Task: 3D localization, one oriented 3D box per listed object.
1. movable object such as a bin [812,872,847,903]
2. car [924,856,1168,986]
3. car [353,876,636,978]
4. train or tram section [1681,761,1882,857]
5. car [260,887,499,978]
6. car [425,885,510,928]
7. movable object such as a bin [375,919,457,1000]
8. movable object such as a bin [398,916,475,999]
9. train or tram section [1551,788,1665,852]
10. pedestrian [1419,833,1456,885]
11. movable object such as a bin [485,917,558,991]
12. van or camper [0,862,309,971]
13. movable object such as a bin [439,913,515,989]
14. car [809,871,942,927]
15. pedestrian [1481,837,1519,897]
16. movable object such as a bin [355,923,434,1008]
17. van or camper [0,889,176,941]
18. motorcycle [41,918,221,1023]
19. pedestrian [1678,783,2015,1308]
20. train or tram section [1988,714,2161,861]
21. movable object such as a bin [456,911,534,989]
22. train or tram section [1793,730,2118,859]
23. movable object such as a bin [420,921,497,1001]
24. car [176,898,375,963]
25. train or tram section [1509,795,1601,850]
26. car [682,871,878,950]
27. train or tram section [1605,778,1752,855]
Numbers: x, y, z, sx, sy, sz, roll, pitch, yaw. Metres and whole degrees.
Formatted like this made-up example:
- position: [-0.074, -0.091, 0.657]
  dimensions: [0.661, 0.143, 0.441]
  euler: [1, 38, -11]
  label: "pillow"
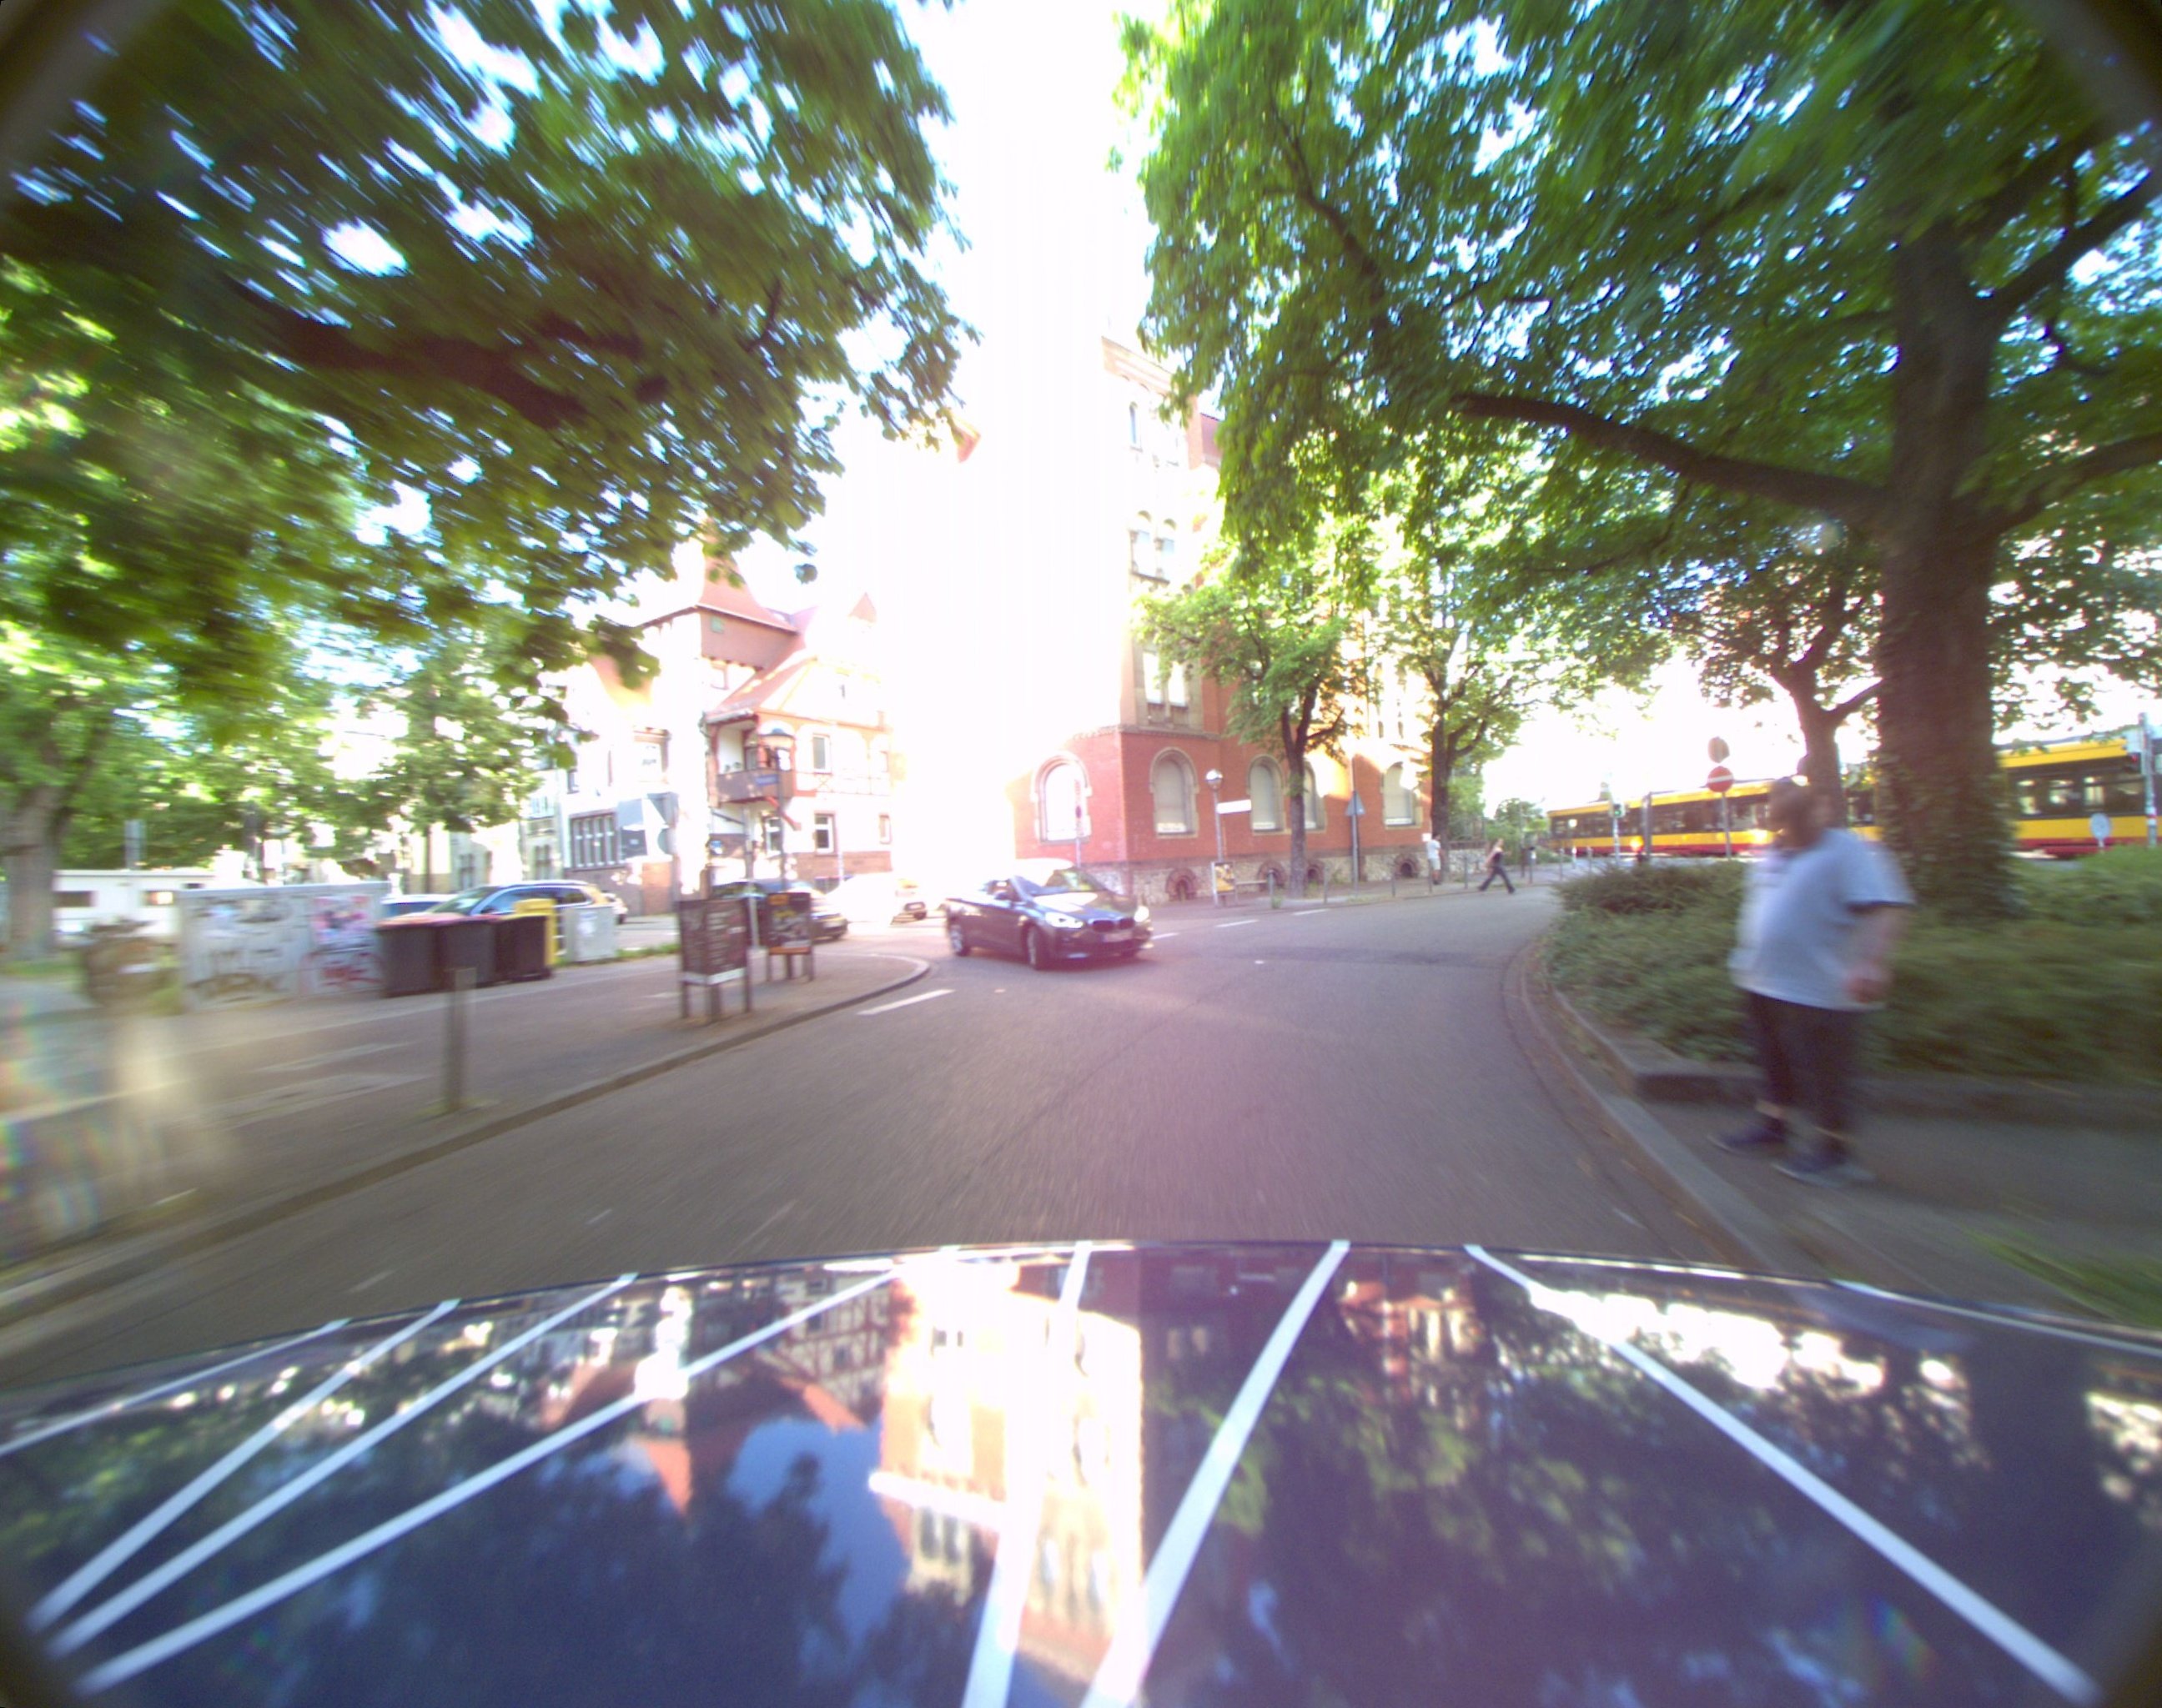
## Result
- position: [-11.501, 1.508, 34.828]
  dimensions: [0.685, 1.310, 1.386]
  euler: [-3, 1, 24]
  label: "movable object such as a bin"
- position: [-0.789, 0.960, 12.477]
  dimensions: [1.928, 1.597, 4.506]
  euler: [-4, 1, -32]
  label: "car"
- position: [-11.897, 1.411, 15.747]
  dimensions: [2.019, 1.702, 4.127]
  euler: [-4, -2, 27]
  label: "car"
- position: [30.533, -1.800, 33.645]
  dimensions: [2.930, 3.578, 7.194]
  euler: [-4, 0, 9]
  label: "train or tram section"
- position: [-16.126, 1.728, 17.640]
  dimensions: [1.699, 1.641, 3.712]
  euler: [-3, 0, 35]
  label: "car"
- position: [-30.745, 2.644, 38.062]
  dimensions: [4.313, 1.896, 1.807]
  euler: [-3, 2, 31]
  label: "car"
- position: [-10.464, 1.638, 11.964]
  dimensions: [0.700, 1.146, 0.741]
  euler: [-3, 0, 32]
  label: "movable object such as a bin"
- position: [-9.813, 1.562, 11.567]
  dimensions: [0.700, 1.146, 0.635]
  euler: [-3, 1, 32]
  label: "movable object such as a bin"
- position: [32.859, -2.041, 47.814]
  dimensions: [2.969, 3.487, 7.193]
  euler: [-4, 1, 9]
  label: "train or tram section"
- position: [11.610, 0.154, 24.769]
  dimensions: [0.859, 1.633, 0.870]
  euler: [-3, 0, 14]
  label: "pedestrian"
- position: [-8.772, 1.549, 11.922]
  dimensions: [0.693, 1.058, 0.660]
  euler: [-3, 0, 32]
  label: "movable object such as a bin"
- position: [-31.996, 1.981, 26.132]
  dimensions: [2.459, 3.059, 7.112]
  euler: [-3, 0, 29]
  label: "van or camper"
- position: [-10.051, 1.594, 12.655]
  dimensions: [0.714, 1.146, 0.741]
  euler: [-3, 0, 32]
  label: "movable object such as a bin"
- position: [-6.391, 1.401, 23.547]
  dimensions: [3.787, 1.477, 1.713]
  euler: [-3, 2, 31]
  label: "car"
- position: [11.593, 0.364, 21.015]
  dimensions: [0.853, 1.595, 0.603]
  euler: [-3, 0, 31]
  label: "pedestrian"
- position: [-9.651, 1.547, 10.691]
  dimensions: [0.672, 1.077, 0.594]
  euler: [-3, 0, 30]
  label: "movable object such as a bin"
- position: [-68.448, 4.058, 52.461]
  dimensions: [2.421, 2.887, 7.285]
  euler: [-2, 1, 31]
  label: "van or camper"
- position: [-13.425, 1.608, 10.739]
  dimensions: [2.177, 1.272, 0.980]
  euler: [-3, 0, 23]
  label: "motorcycle"
- position: [2.938, 0.614, 3.020]
  dimensions: [0.778, 1.674, 0.920]
  euler: [-3, 0, 41]
  label: "pedestrian"
- position: [28.230, -1.718, 19.453]
  dimensions: [2.918, 3.619, 6.351]
  euler: [-3, 0, 9]
  label: "train or tram section"
- position: [-9.437, 1.530, 12.251]
  dimensions: [0.700, 1.146, 0.741]
  euler: [-3, 0, 32]
  label: "movable object such as a bin"
- position: [29.319, -1.751, 26.229]
  dimensions: [2.918, 3.593, 7.865]
  euler: [-3, 0, 9]
  label: "train or tram section"
- position: [-9.183, 1.562, 11.206]
  dimensions: [0.703, 1.069, 0.632]
  euler: [-3, 0, 32]
  label: "movable object such as a bin"
- position: [-22.894, 2.117, 21.737]
  dimensions: [1.673, 1.496, 3.608]
  euler: [-4, -2, 32]
  label: "car"
- position: [34.012, -2.184, 54.911]
  dimensions: [2.969, 3.487, 7.193]
  euler: [-4, 1, 9]
  label: "train or tram section"
- position: [-7.309, 1.383, 18.422]
  dimensions: [4.252, 1.584, 2.003]
  euler: [-4, 2, 27]
  label: "car"
- position: [31.678, -1.895, 40.746]
  dimensions: [2.935, 3.570, 7.193]
  euler: [-4, 1, 9]
  label: "train or tram section"
